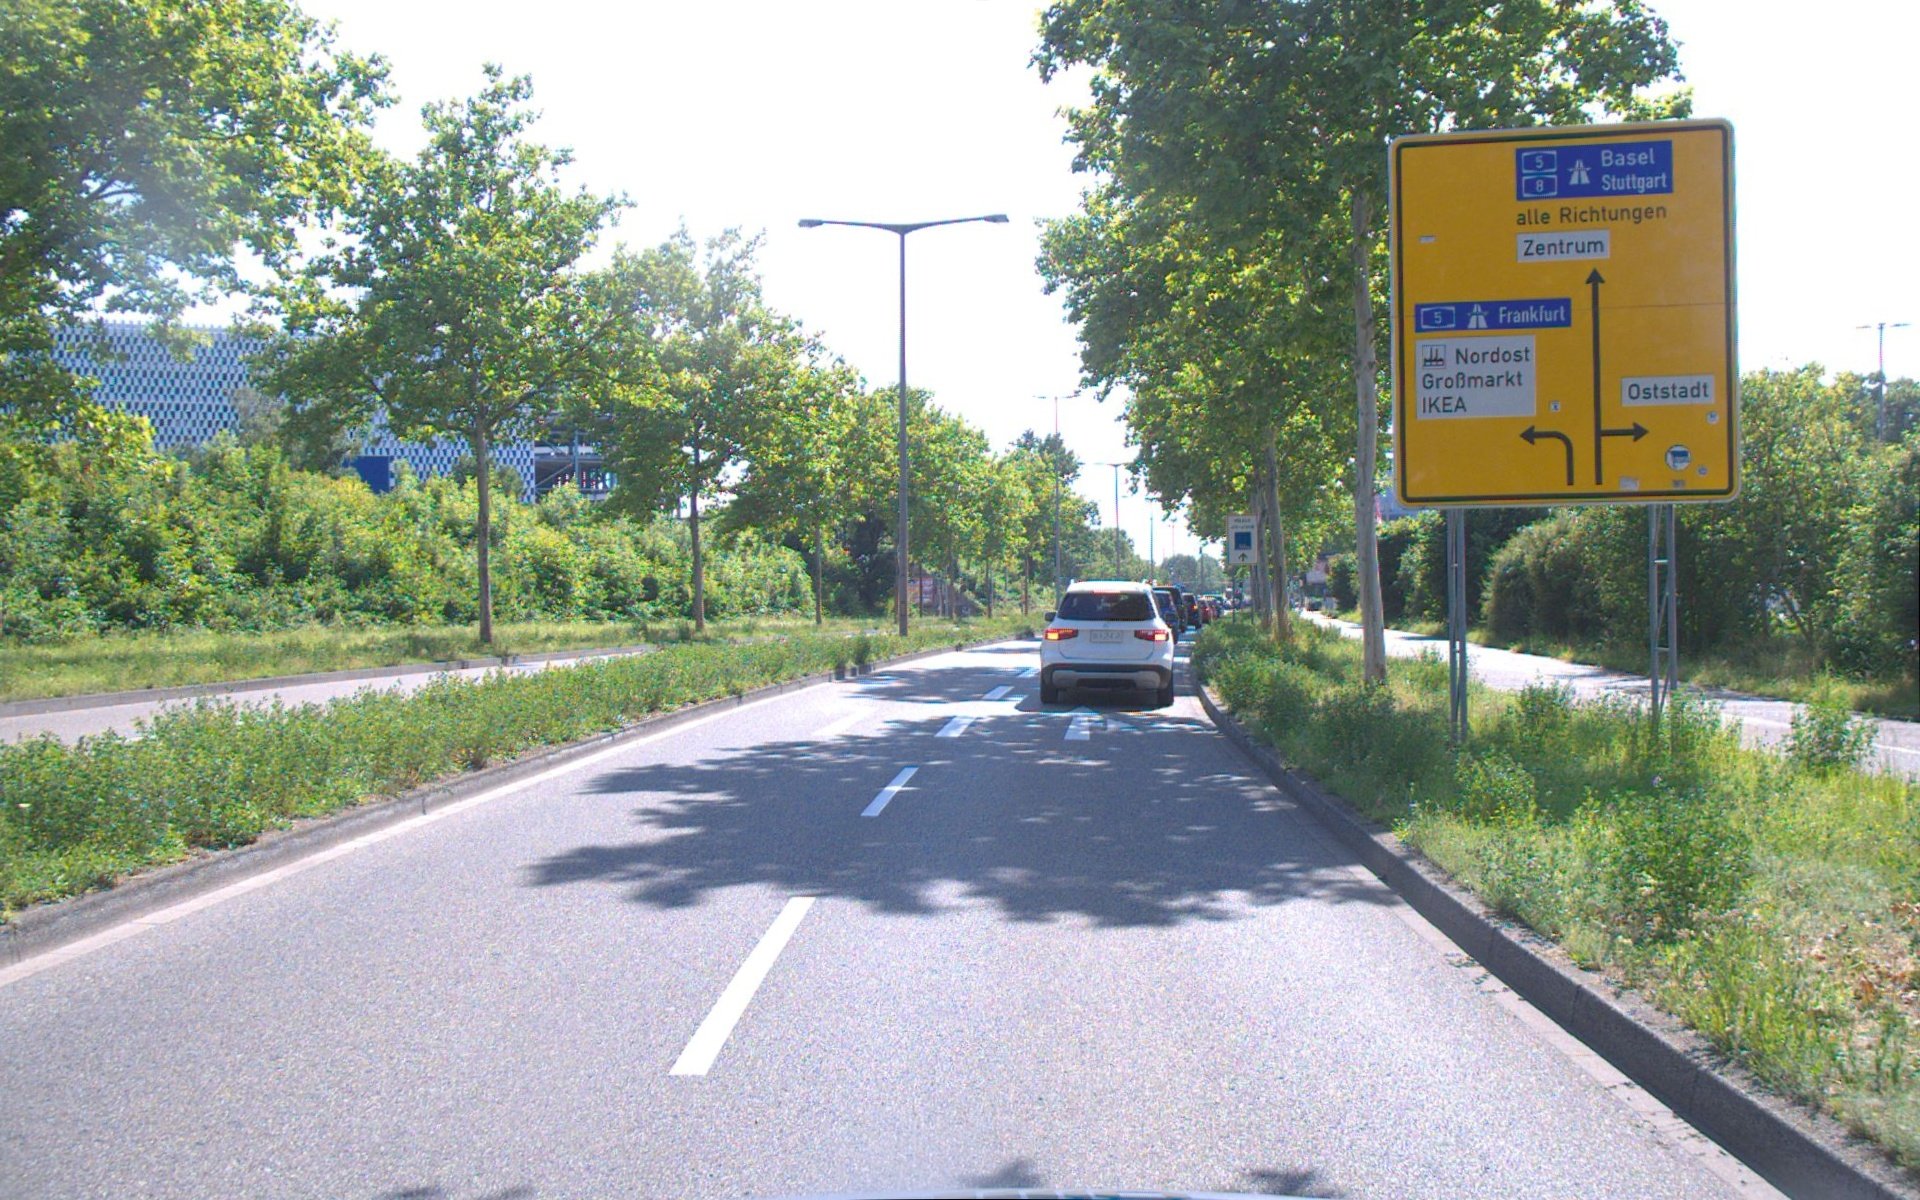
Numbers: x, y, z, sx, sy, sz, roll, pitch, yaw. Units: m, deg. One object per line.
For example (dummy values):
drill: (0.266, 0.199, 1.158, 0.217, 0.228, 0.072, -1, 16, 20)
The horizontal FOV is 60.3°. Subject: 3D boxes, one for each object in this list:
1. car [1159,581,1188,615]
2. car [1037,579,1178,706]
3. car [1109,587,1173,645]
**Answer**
car: (17.484, -0.161, 135.081, 2.037, 2.703, 4.878, 1, 0, 11)
car: (2.139, 0.557, 23.481, 1.814, 1.635, 4.003, 0, 0, 6)
car: (5.396, 0.474, 49.235, 1.814, 1.635, 4.003, 0, 0, 6)
